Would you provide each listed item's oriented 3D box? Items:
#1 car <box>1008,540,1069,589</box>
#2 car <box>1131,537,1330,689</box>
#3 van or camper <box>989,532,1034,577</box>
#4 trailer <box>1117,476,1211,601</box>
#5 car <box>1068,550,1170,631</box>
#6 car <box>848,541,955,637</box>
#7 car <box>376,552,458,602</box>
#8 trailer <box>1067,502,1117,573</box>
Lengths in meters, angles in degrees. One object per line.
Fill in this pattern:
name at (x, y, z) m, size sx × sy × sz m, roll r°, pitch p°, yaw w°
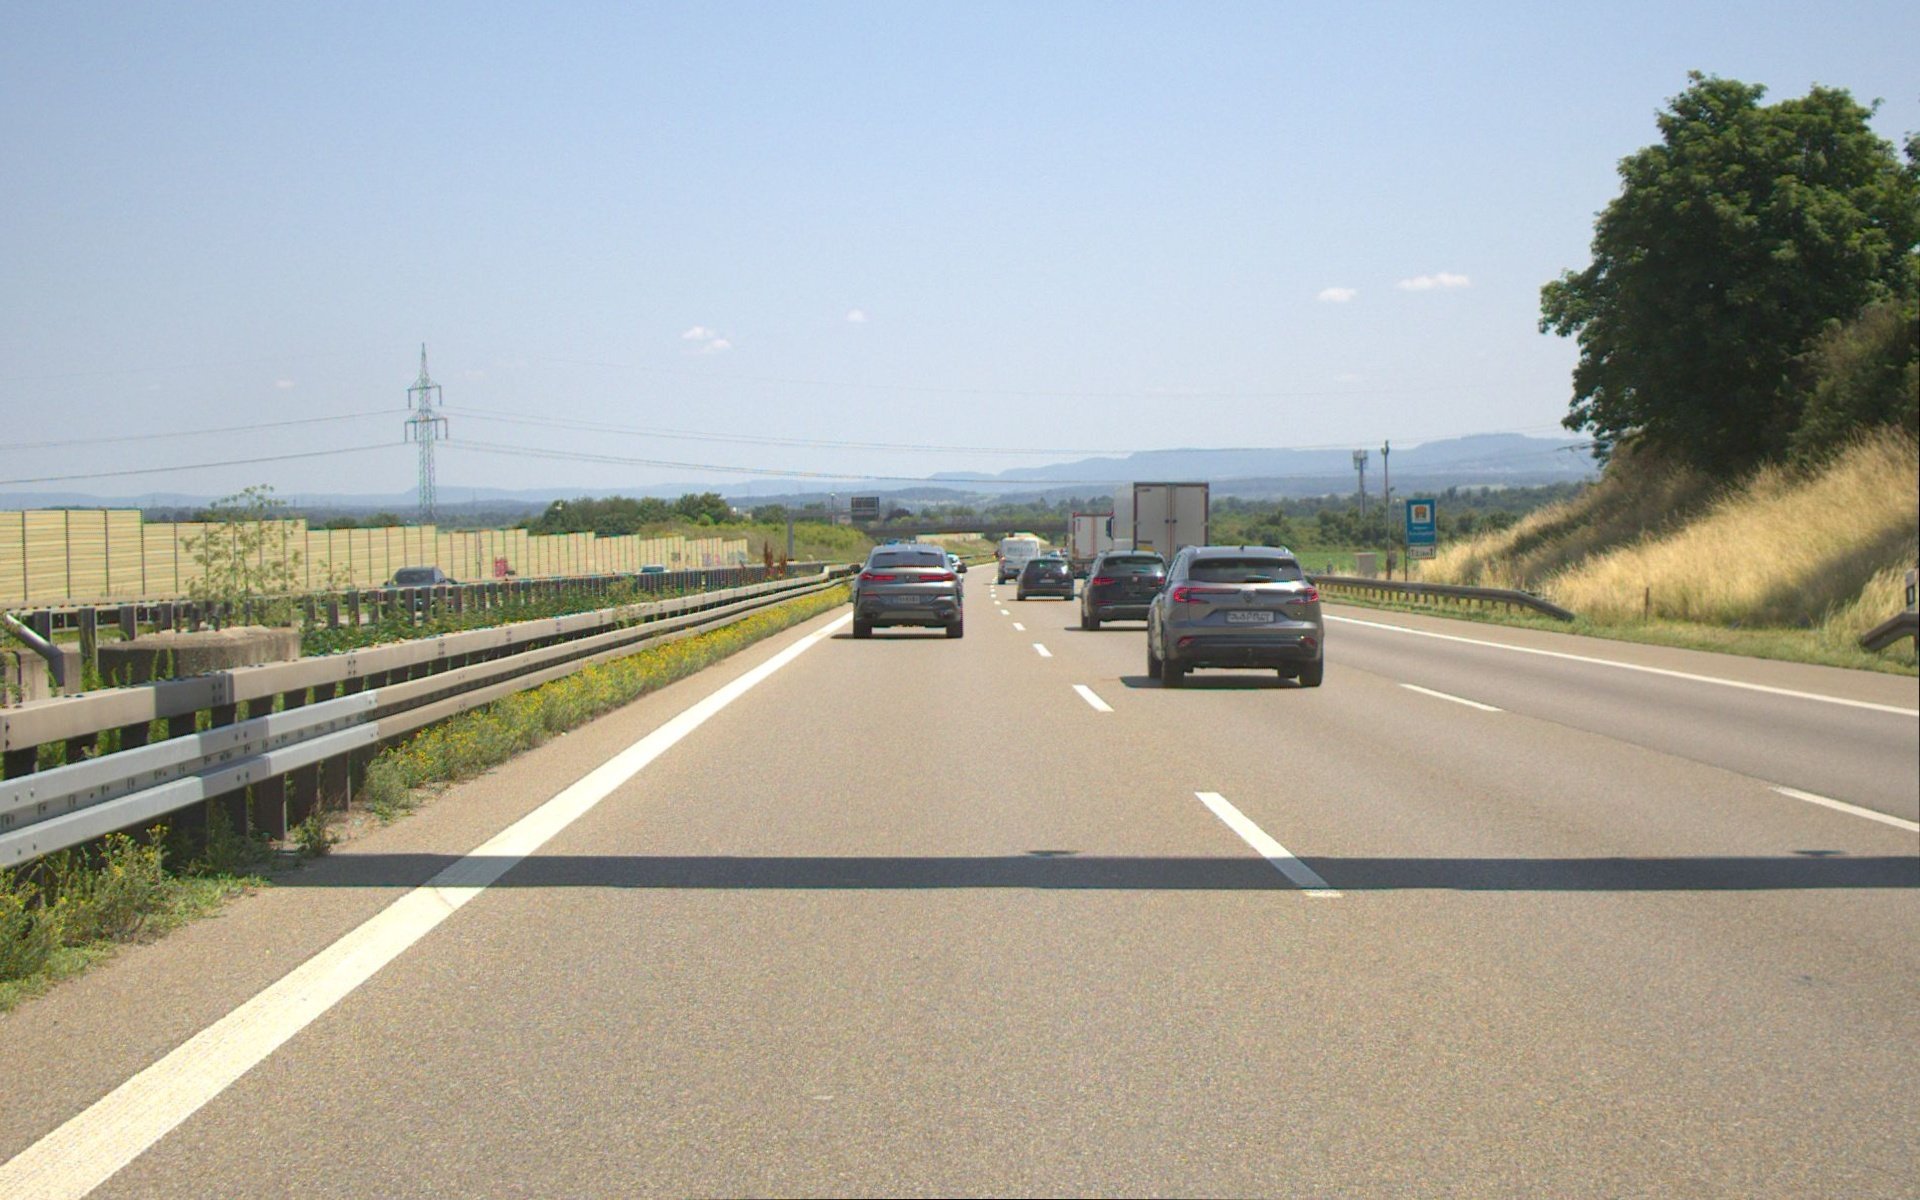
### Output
car at (2.598, -1.159, 113.653) m, size 1.933 × 1.569 × 4.934 m, roll 1°, pitch 0°, yaw 1°
car at (3.090, 0.130, 40.130) m, size 1.851 × 1.643 × 4.645 m, roll 1°, pitch 0°, yaw -1°
van or camper at (2.611, -2.304, 173.808) m, size 2.111 × 2.204 × 5.265 m, roll 1°, pitch 0°, yaw 2°
trailer at (7.236, -2.140, 123.492) m, size 2.868 × 4.205 × 13.294 m, roll 1°, pitch 0°, yaw 1°
car at (3.189, -0.202, 69.436) m, size 1.796 × 1.556 × 3.824 m, roll 1°, pitch 0°, yaw -1°
car at (-1.059, -0.203, 62.379) m, size 1.851 × 1.658 × 3.735 m, roll 1°, pitch 0°, yaw -1°
car at (-18.103, -0.777, 114.788) m, size 1.896 × 1.564 × 5.247 m, roll -2°, pitch 1°, yaw 0°
trailer at (8.246, -3.842, 215.058) m, size 2.943 × 4.184 × 13.595 m, roll 1°, pitch 0°, yaw 2°
